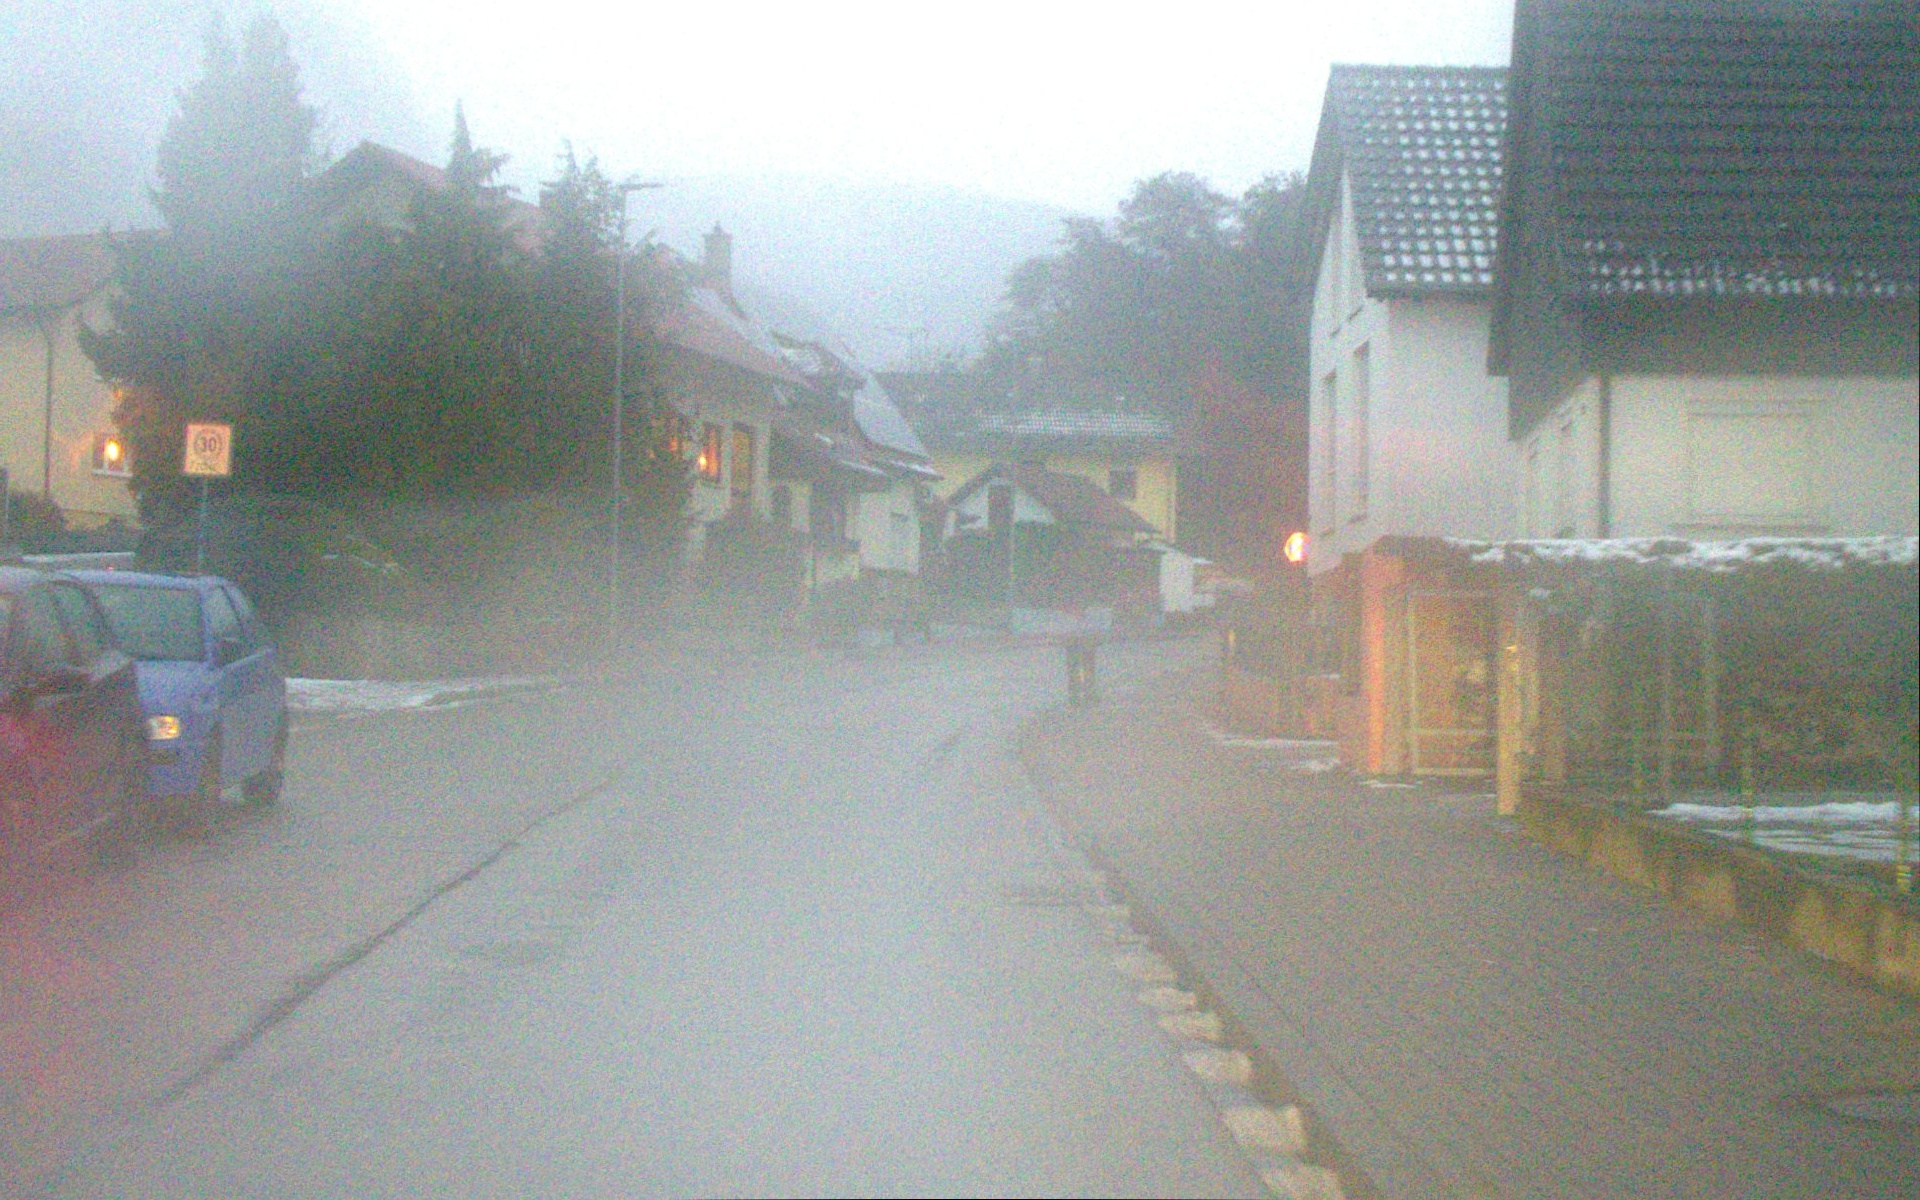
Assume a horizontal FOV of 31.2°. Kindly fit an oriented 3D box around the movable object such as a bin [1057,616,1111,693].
[{"bbox_3d":[1.574,0.691,43.594,0.614,0.943,0.594,-3,-2,5],"label":"movable object such as a bin"}]

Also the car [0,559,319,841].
[{"bbox_3d":[-4.786,0.494,19.682,1.667,1.405,3.914,1,1,-3],"label":"car"}]

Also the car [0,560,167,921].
[{"bbox_3d":[-4.666,0.527,14.897,1.664,1.413,3.691,2,0,-2],"label":"car"}]
